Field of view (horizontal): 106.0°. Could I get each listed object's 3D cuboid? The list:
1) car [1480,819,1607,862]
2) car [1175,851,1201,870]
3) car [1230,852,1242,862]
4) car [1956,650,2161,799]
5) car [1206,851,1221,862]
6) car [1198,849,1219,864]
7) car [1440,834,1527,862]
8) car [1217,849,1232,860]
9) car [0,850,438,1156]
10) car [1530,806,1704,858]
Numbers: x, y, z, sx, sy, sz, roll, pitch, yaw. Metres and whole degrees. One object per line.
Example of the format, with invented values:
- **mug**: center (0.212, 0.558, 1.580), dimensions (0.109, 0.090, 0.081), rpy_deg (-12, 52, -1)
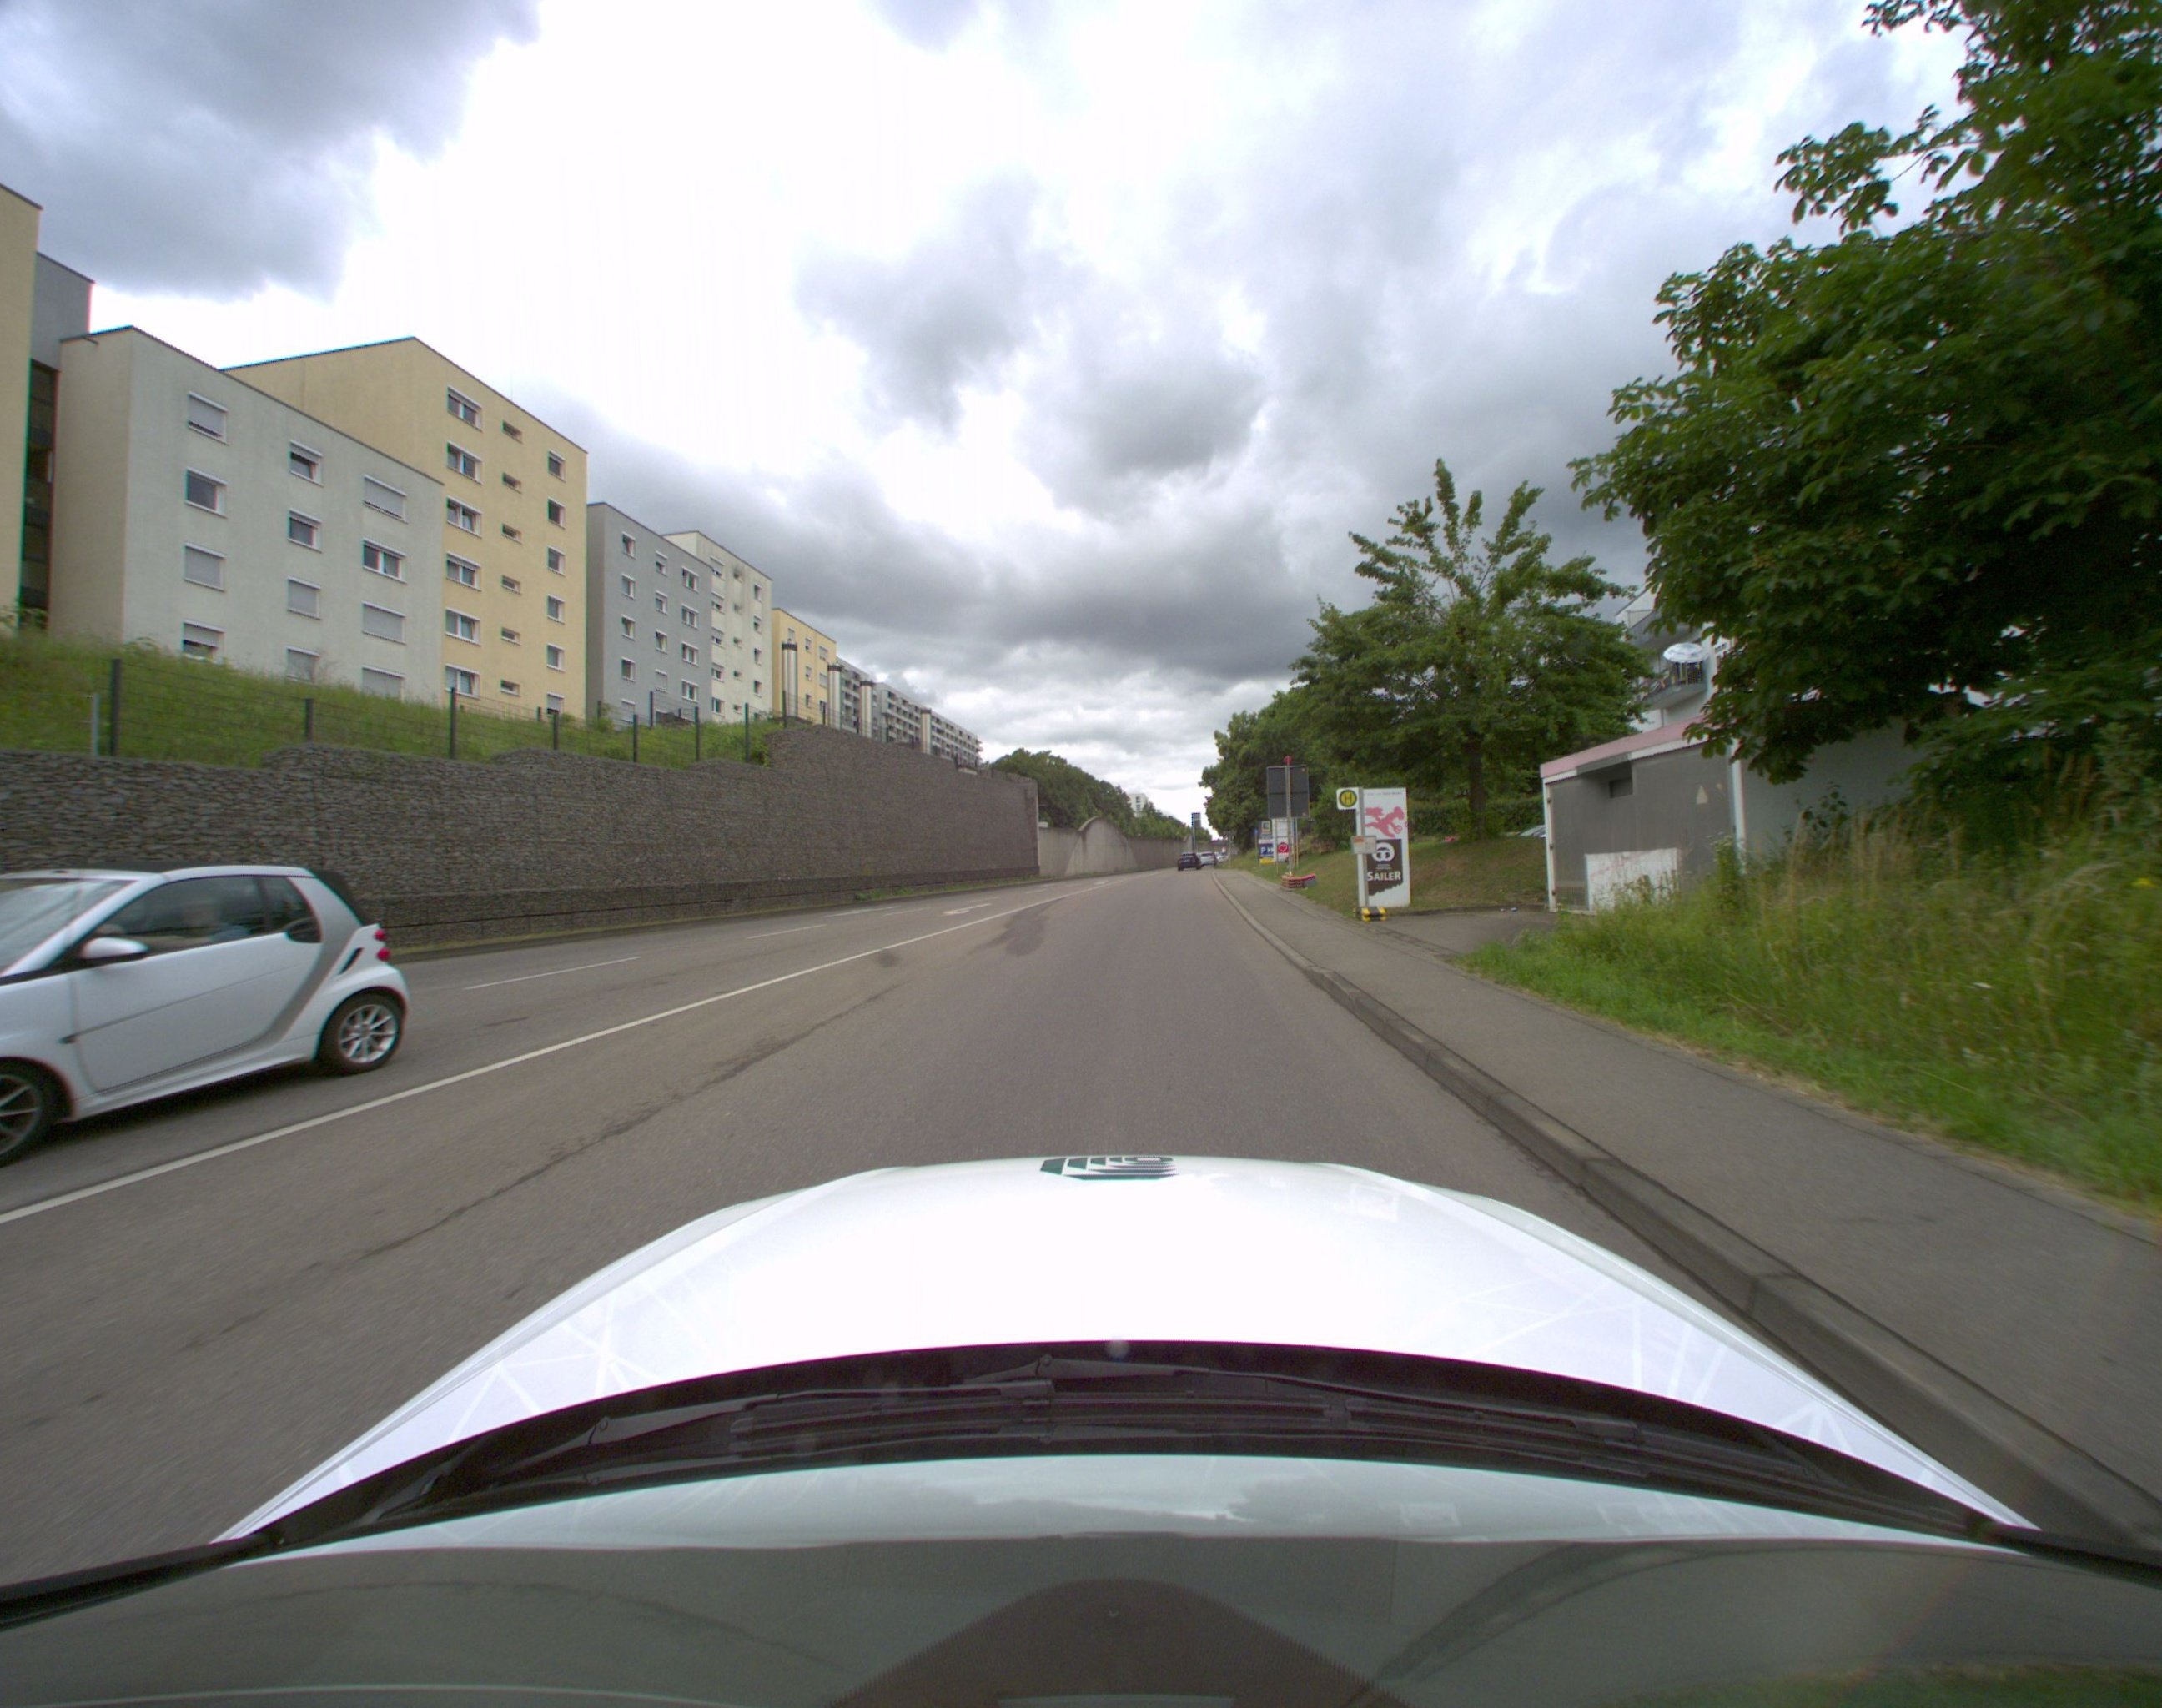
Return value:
- **car**: center (17.862, -0.498, 31.599), dimensions (3.848, 1.353, 1.840), rpy_deg (-3, -3, 10)
- **car**: center (8.976, 0.550, 68.274), dimensions (1.742, 1.523, 4.051), rpy_deg (0, -2, 14)
- **car**: center (25.177, 0.457, 131.899), dimensions (1.742, 1.534, 4.269), rpy_deg (0, -2, 13)
- **car**: center (13.357, -1.540, 9.135), dimensions (4.665, 1.381, 1.721), rpy_deg (-3, -3, 11)
- **car**: center (21.326, 0.433, 131.153), dimensions (1.877, 1.632, 4.442), rpy_deg (-3, -1, 13)
- **car**: center (13.219, 0.277, 84.207), dimensions (1.741, 1.523, 4.052), rpy_deg (0, -2, 14)
- **car**: center (23.020, -0.326, 46.725), dimensions (4.208, 1.449, 1.767), rpy_deg (-2, 0, 16)
- **car**: center (19.340, 0.085, 109.797), dimensions (1.854, 1.490, 4.271), rpy_deg (0, -1, 13)
- **car**: center (-6.023, 0.743, 5.063), dimensions (1.535, 1.523, 2.920), rpy_deg (0, 0, 7)
- **car**: center (15.823, -0.616, 24.254), dimensions (3.847, 1.232, 1.875), rpy_deg (-3, -3, 11)
